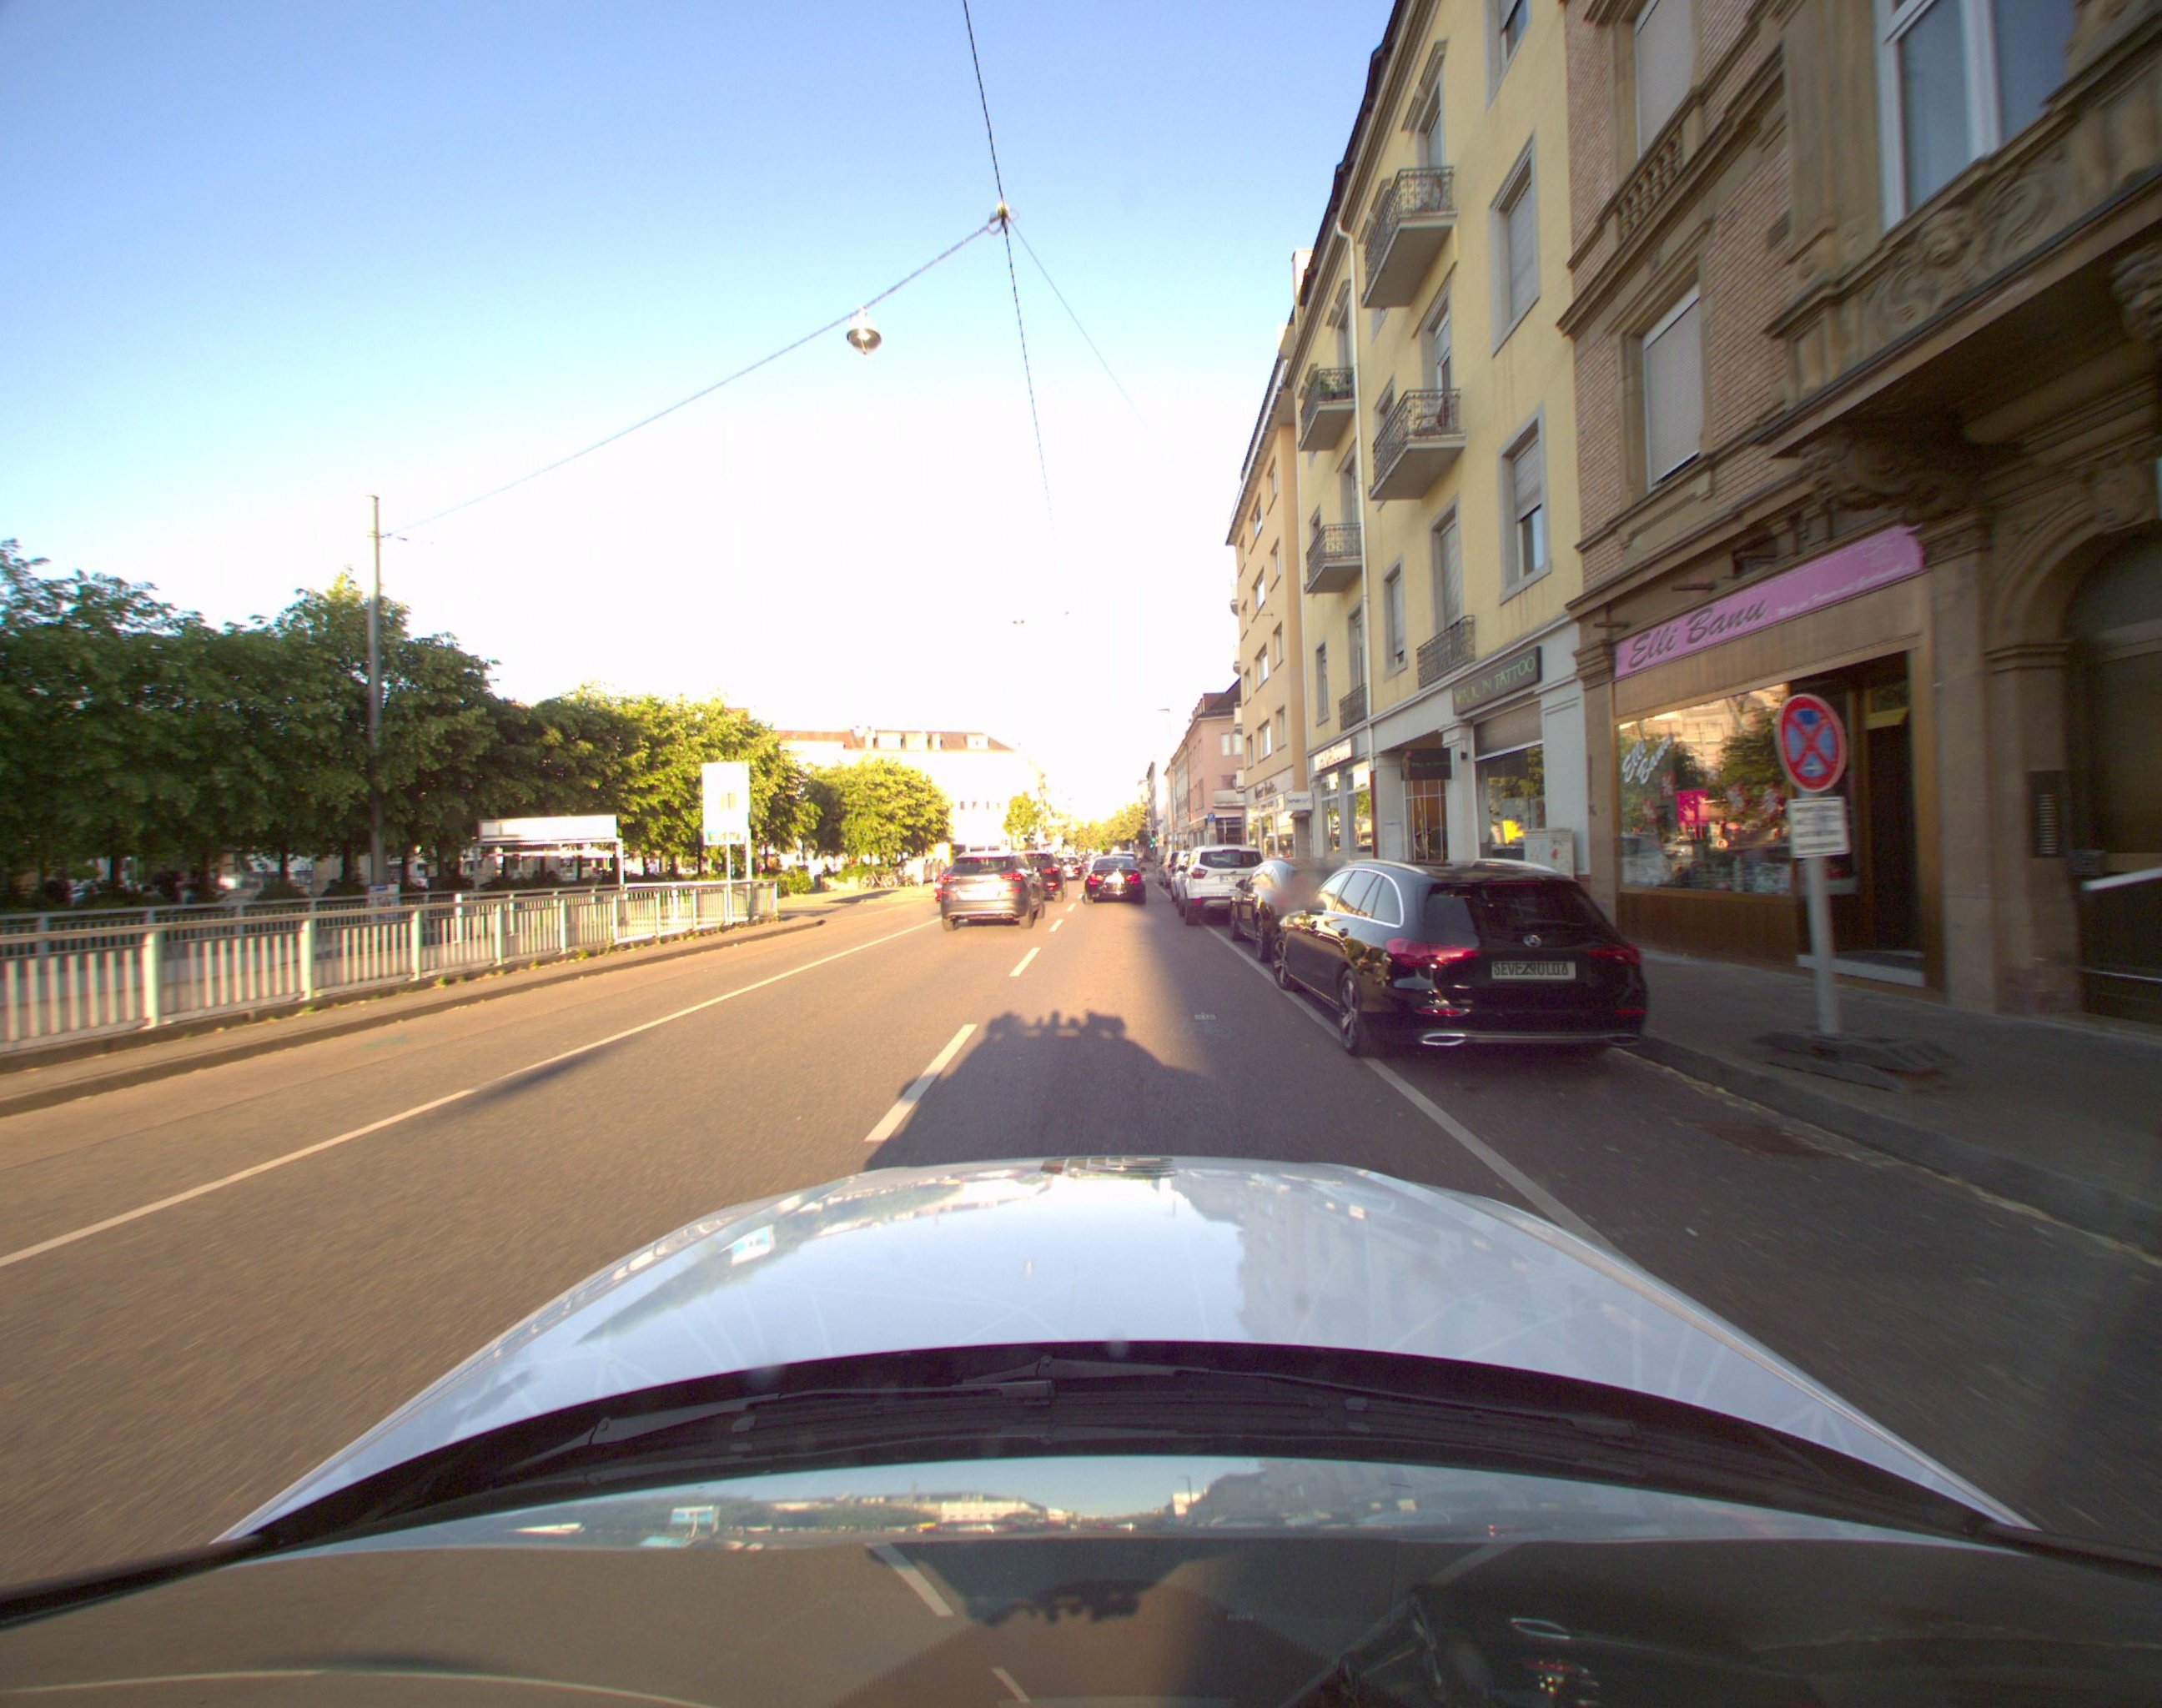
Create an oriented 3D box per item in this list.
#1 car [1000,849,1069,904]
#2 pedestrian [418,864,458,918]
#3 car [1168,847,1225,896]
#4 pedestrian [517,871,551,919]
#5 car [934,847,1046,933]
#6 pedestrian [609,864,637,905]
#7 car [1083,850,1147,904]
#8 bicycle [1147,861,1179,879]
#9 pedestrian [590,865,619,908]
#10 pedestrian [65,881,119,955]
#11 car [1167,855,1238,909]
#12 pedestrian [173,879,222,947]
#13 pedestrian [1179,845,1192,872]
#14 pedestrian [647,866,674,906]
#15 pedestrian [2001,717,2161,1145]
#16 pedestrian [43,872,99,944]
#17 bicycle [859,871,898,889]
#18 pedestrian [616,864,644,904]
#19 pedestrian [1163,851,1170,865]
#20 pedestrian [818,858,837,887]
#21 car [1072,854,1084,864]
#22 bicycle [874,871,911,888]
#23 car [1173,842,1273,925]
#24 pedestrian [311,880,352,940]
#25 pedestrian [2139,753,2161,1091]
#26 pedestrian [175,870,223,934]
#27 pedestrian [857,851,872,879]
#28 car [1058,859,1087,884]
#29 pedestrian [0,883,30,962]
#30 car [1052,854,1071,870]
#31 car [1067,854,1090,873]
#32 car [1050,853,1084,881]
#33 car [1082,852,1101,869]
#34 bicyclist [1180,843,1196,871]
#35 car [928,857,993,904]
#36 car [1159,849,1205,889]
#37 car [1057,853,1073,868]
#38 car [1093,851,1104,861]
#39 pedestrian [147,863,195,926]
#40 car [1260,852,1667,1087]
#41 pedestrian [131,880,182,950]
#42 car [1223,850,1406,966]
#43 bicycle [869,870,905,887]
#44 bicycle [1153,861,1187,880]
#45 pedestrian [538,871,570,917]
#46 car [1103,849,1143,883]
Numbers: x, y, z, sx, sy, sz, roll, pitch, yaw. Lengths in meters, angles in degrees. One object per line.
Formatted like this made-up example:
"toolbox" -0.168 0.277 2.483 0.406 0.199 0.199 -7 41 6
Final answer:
"car" -1.473 0.701 27.300 1.889 1.649 4.106 -1 0 2
"pedestrian" -19.647 1.120 24.900 0.671 1.595 0.680 -1 0 21
"car" 4.155 0.611 29.654 1.722 1.652 3.831 0 -1 3
"pedestrian" -18.858 1.414 28.099 0.671 1.595 0.680 -1 0 21
"car" -1.898 0.719 18.265 1.889 1.649 4.106 -1 0 2
"pedestrian" -17.885 1.192 31.821 0.783 1.595 0.571 -1 0 21
"car" 1.062 0.691 26.010 1.889 1.581 4.002 0 0 2
"bicycle" 4.619 0.917 45.759 1.756 0.967 0.491 -1 0 7
"pedestrian" -17.938 1.205 30.652 0.783 1.595 0.571 -1 0 21
"pedestrian" -22.131 1.415 18.220 0.671 1.595 0.571 -1 0 21
"car" 3.513 0.766 24.160 1.722 1.450 4.316 0 -1 4
"pedestrian" -21.401 1.423 19.730 0.671 1.595 0.571 -1 0 21
"pedestrian" 7.033 0.293 54.868 0.697 1.812 0.634 -1 0 -1
"pedestrian" -17.092 1.299 33.077 0.783 1.595 0.571 -1 0 21
"pedestrian" 4.966 0.315 3.509 0.769 1.827 1.011 -3 0 2
"pedestrian" -22.955 1.217 18.518 0.783 1.595 0.571 -1 0 21
"bicycle" -10.301 1.328 41.497 1.820 0.853 0.483 1 0 -2
"pedestrian" -18.117 1.200 32.717 0.783 1.595 0.571 -1 0 21
"pedestrian" 9.128 0.441 86.884 0.629 1.534 0.702 -1 0 5
"pedestrian" -13.959 1.010 44.904 0.783 1.595 0.571 -1 0 21
"car" -0.456 0.761 132.674 1.685 1.552 3.953 -4 0 2
"bicycle" -10.006 1.330 43.293 1.820 0.853 0.483 1 0 -2
"car" 3.081 0.604 18.408 1.723 1.651 4.287 0 -1 3
"pedestrian" -20.551 1.533 22.324 0.671 1.595 0.571 -1 0 21
"pedestrian" 5.811 0.327 3.621 0.769 1.711 1.042 -3 0 2
"pedestrian" -22.723 1.218 20.980 0.783 1.595 0.571 -1 0 21
"pedestrian" -12.486 0.656 46.972 0.677 1.595 0.490 -1 0 21
"car" -0.531 1.118 54.300 1.773 1.547 4.001 -1 0 1
"pedestrian" -22.409 1.413 16.880 0.671 1.595 0.571 -1 0 21
"car" -2.043 0.848 86.661 1.685 1.552 3.953 -4 0 2
"car" -0.217 0.784 68.213 1.773 1.547 4.001 -1 0 1
"car" -0.781 0.715 47.606 1.773 1.547 4.001 -1 0 1
"car" 1.029 0.601 79.781 1.773 1.547 4.001 -1 0 1
"bicyclist" 6.930 0.212 52.822 0.823 1.777 0.612 -1 0 29
"car" -4.581 0.972 31.455 1.685 1.552 3.953 -4 0 2
"car" 4.393 0.630 35.874 1.722 1.652 3.973 0 -1 3
"car" -1.889 0.772 97.377 1.685 1.552 3.953 -4 0 2
"car" 3.060 0.348 141.035 1.773 1.547 4.001 -1 0 1
"pedestrian" -23.623 1.037 21.147 0.783 1.595 0.571 -1 0 21
"car" 2.865 0.730 7.317 1.723 1.448 4.527 0 -1 3
"pedestrian" -21.701 1.420 19.113 0.671 1.595 0.571 -1 0 21
"car" 3.325 0.697 12.472 1.723 1.448 4.477 0 -1 3
"bicycle" -10.509 1.323 44.221 1.820 0.853 0.483 1 0 -2
"bicycle" 4.848 0.903 44.257 1.749 0.967 0.493 -1 0 27
"pedestrian" -18.599 1.399 28.743 0.671 1.595 0.680 -1 0 21
"car" 2.041 0.580 40.700 1.889 1.581 4.002 0 0 2
